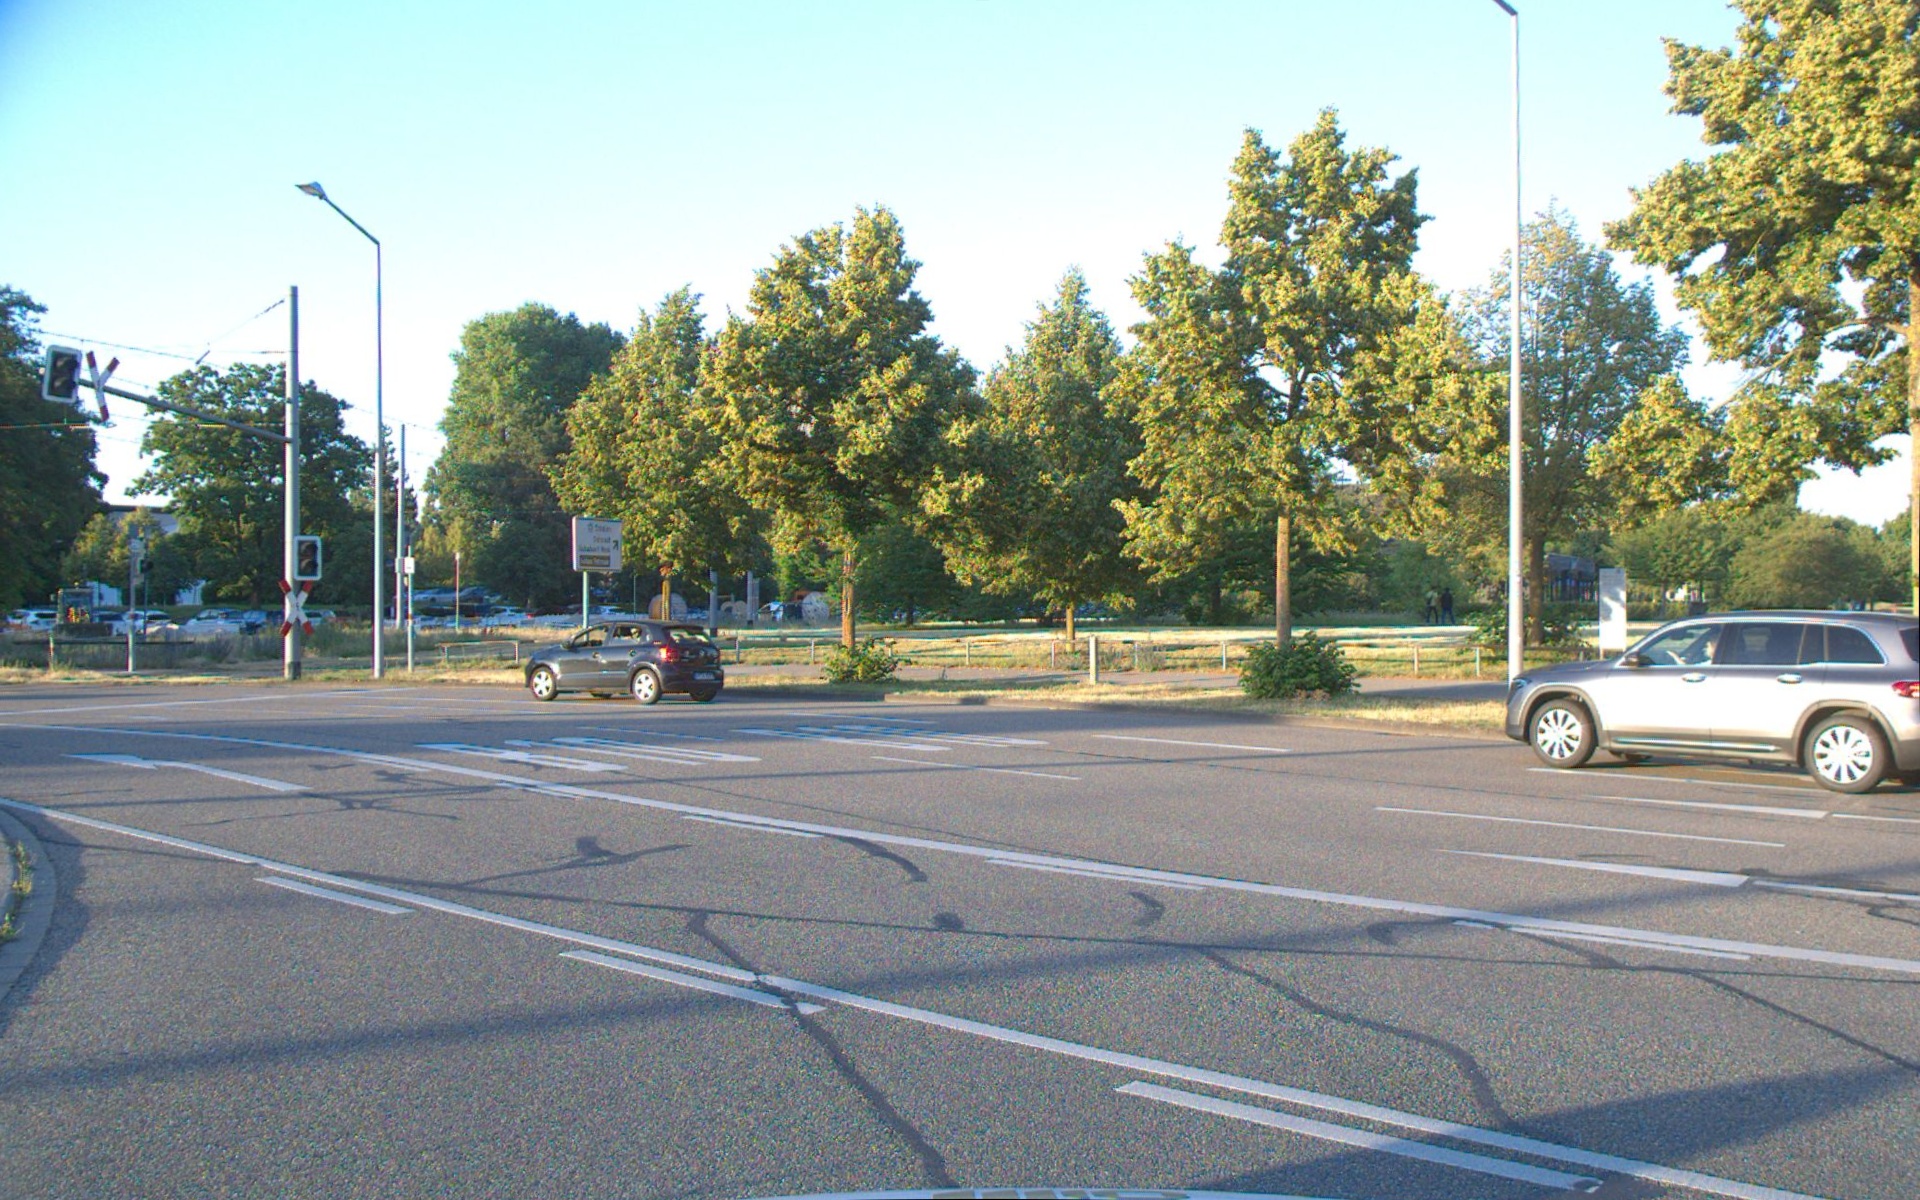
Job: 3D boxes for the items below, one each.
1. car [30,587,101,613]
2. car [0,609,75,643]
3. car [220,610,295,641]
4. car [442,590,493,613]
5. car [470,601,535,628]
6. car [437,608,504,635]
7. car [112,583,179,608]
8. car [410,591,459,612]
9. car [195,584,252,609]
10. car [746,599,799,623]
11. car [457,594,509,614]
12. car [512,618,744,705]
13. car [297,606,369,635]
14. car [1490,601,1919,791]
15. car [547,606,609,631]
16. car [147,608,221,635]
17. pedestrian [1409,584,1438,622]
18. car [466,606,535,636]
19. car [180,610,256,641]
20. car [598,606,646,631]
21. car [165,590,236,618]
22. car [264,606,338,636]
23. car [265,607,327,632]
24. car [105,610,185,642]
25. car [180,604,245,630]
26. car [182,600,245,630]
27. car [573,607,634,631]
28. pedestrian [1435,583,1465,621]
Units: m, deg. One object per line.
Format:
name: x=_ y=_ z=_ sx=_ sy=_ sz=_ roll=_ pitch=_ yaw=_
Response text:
car: x=-70.542 y=-0.010 z=130.456 sx=1.956 sy=2.049 sz=4.590 roll=0 pitch=0 yaw=29
car: x=-45.629 y=1.247 z=81.428 sx=3.915 sy=1.632 sz=1.995 roll=0 pitch=0 yaw=32
car: x=-39.093 y=1.404 z=92.039 sx=3.915 sy=1.632 sz=1.995 roll=0 pitch=0 yaw=32
car: x=-44.099 y=0.125 z=148.230 sx=1.963 sy=2.049 sz=3.979 roll=0 pitch=0 yaw=40
car: x=-34.601 y=1.096 z=125.258 sx=4.499 sy=2.049 sz=1.996 roll=0 pitch=0 yaw=-9
car: x=-30.982 y=1.333 z=104.681 sx=3.915 sy=1.632 sz=1.995 roll=0 pitch=0 yaw=32
car: x=-67.127 y=-0.398 z=136.331 sx=1.958 sy=2.049 sz=4.585 roll=0 pitch=0 yaw=33
car: x=-47.961 y=0.129 z=151.057 sx=1.959 sy=1.847 sz=3.987 roll=0 pitch=0 yaw=34
car: x=-63.385 y=-0.310 z=142.353 sx=1.958 sy=2.049 sz=4.105 roll=0 pitch=0 yaw=33
car: x=-13.009 y=0.770 z=114.670 sx=1.724 sy=1.646 sz=3.940 roll=0 pitch=0 yaw=-41
car: x=-41.698 y=0.311 z=144.718 sx=3.902 sy=1.736 sz=2.001 roll=0 pitch=0 yaw=6
car: x=-5.865 y=1.041 z=29.080 sx=3.914 sy=1.378 sz=1.690 roll=0 pitch=0 yaw=32
car: x=-36.449 y=1.202 z=96.083 sx=3.915 sy=1.632 sz=1.995 roll=0 pitch=0 yaw=32
car: x=7.887 y=0.845 z=16.727 sx=1.983 sy=1.666 sz=4.456 roll=0 pitch=0 yaw=-42
car: x=-26.277 y=1.247 z=113.670 sx=3.915 sy=1.632 sz=1.995 roll=0 pitch=0 yaw=32
car: x=-50.237 y=1.381 z=107.077 sx=1.863 sy=1.691 sz=3.987 roll=0 pitch=0 yaw=34
pedestrian: x=20.646 y=0.129 z=73.677 sx=1.047 sy=1.646 sz=0.911 roll=0 pitch=0 yaw=2
car: x=-32.532 y=1.452 z=117.150 sx=4.499 sy=2.049 sz=1.996 roll=0 pitch=0 yaw=-9
car: x=-40.536 y=1.373 z=90.371 sx=3.915 sy=1.632 sz=1.995 roll=0 pitch=0 yaw=32
car: x=-26.372 y=1.405 z=128.875 sx=1.979 sy=1.782 sz=4.538 roll=0 pitch=1 yaw=-37
car: x=-56.655 y=0.252 z=123.483 sx=1.956 sy=2.049 sz=4.590 roll=0 pitch=0 yaw=29
car: x=-37.394 y=1.176 z=93.865 sx=3.915 sy=1.632 sz=1.995 roll=0 pitch=0 yaw=32
car: x=-45.823 y=1.332 z=114.106 sx=3.933 sy=1.691 sz=1.889 roll=0 pitch=0 yaw=-23
car: x=-42.260 y=1.323 z=85.781 sx=3.915 sy=1.632 sz=1.995 roll=0 pitch=0 yaw=32
car: x=-50.567 y=1.120 z=111.864 sx=3.939 sy=1.691 sz=1.983 roll=0 pitch=0 yaw=-27
car: x=-52.186 y=1.053 z=115.664 sx=3.939 sy=2.049 sz=1.983 roll=0 pitch=0 yaw=-27
car: x=-24.908 y=1.333 z=115.420 sx=3.915 sy=1.632 sz=1.995 roll=0 pitch=0 yaw=32
pedestrian: x=21.747 y=0.081 z=73.422 sx=1.047 sy=1.646 sz=0.911 roll=0 pitch=0 yaw=2
